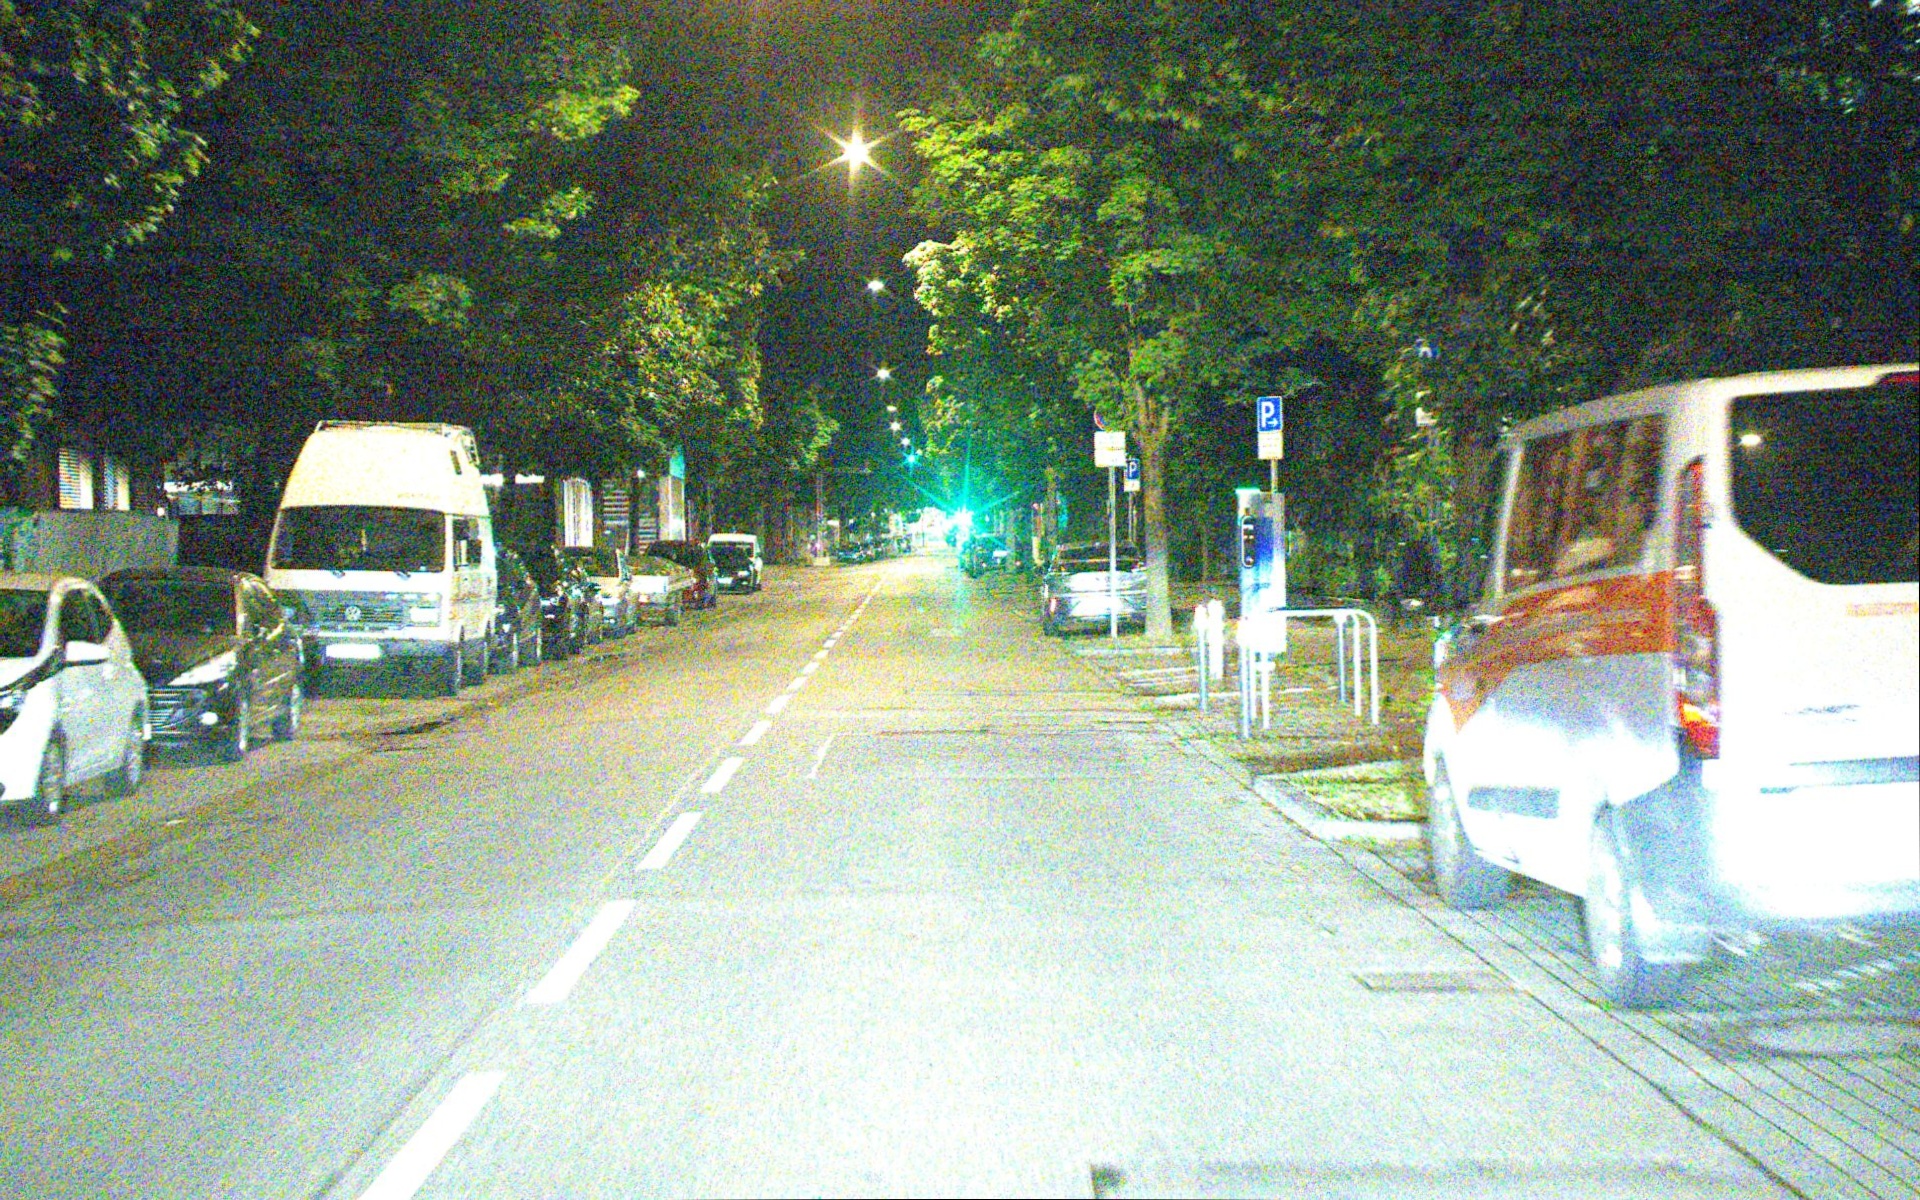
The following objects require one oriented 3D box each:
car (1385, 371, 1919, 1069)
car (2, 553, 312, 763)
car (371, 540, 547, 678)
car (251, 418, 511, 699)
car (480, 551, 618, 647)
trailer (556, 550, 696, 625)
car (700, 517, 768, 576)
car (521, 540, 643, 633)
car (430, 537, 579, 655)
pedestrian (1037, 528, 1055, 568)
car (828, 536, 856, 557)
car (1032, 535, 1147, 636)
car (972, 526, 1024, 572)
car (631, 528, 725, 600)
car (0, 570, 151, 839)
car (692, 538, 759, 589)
[{"bbox_3d":[2.878,0.268,12.116,1.950,1.957,4.604,-3,1,-2],"label":"car"},{"bbox_3d":[-6.250,0.399,27.126,1.645,1.499,3.861,0,1,-2],"label":"car"},{"bbox_3d":[-6.279,0.072,43.457,1.742,1.601,4.116,0,2,-2],"label":"car"},{"bbox_3d":[-6.326,-0.486,38.102,2.179,2.899,4.910,0,1,-2],"label":"car"},{"bbox_3d":[-6.471,-0.050,54.513,1.704,1.407,4.634,-1,1,-1],"label":"car"},{"bbox_3d":[-6.480,-0.270,67.256,2.110,1.330,5.435,1,1,1],"label":"trailer"},{"bbox_3d":[-7.323,-1.749,111.857,1.822,1.805,4.210,2,1,1],"label":"car"},{"bbox_3d":[-6.535,-0.267,59.723,1.716,1.496,4.206,1,1,-1],"label":"car"},{"bbox_3d":[-6.458,-0.092,49.132,1.742,1.601,4.299,0,1,-3],"label":"car"},{"bbox_3d":[3.729,-2.264,148.912,0.705,1.716,0.821,-3,1,0],"label":"pedestrian"},{"bbox_3d":[-7.972,-3.620,232.403,1.740,1.411,3.752,-1,1,0],"label":"car"},{"bbox_3d":[2.026,-0.257,54.333,1.668,1.424,4.148,-3,1,2],"label":"car"},{"bbox_3d":[1.374,-1.859,124.903,1.853,1.648,4.209,0,1,0],"label":"car"},{"bbox_3d":[-6.736,-0.877,82.411,1.822,1.593,4.073,2,1,1],"label":"car"},{"bbox_3d":[-6.082,0.569,21.028,1.547,1.450,3.369,1,1,-1],"label":"car"},{"bbox_3d":[-7.077,-1.132,104.208,1.700,1.428,3.828,2,1,0],"label":"car"}]
